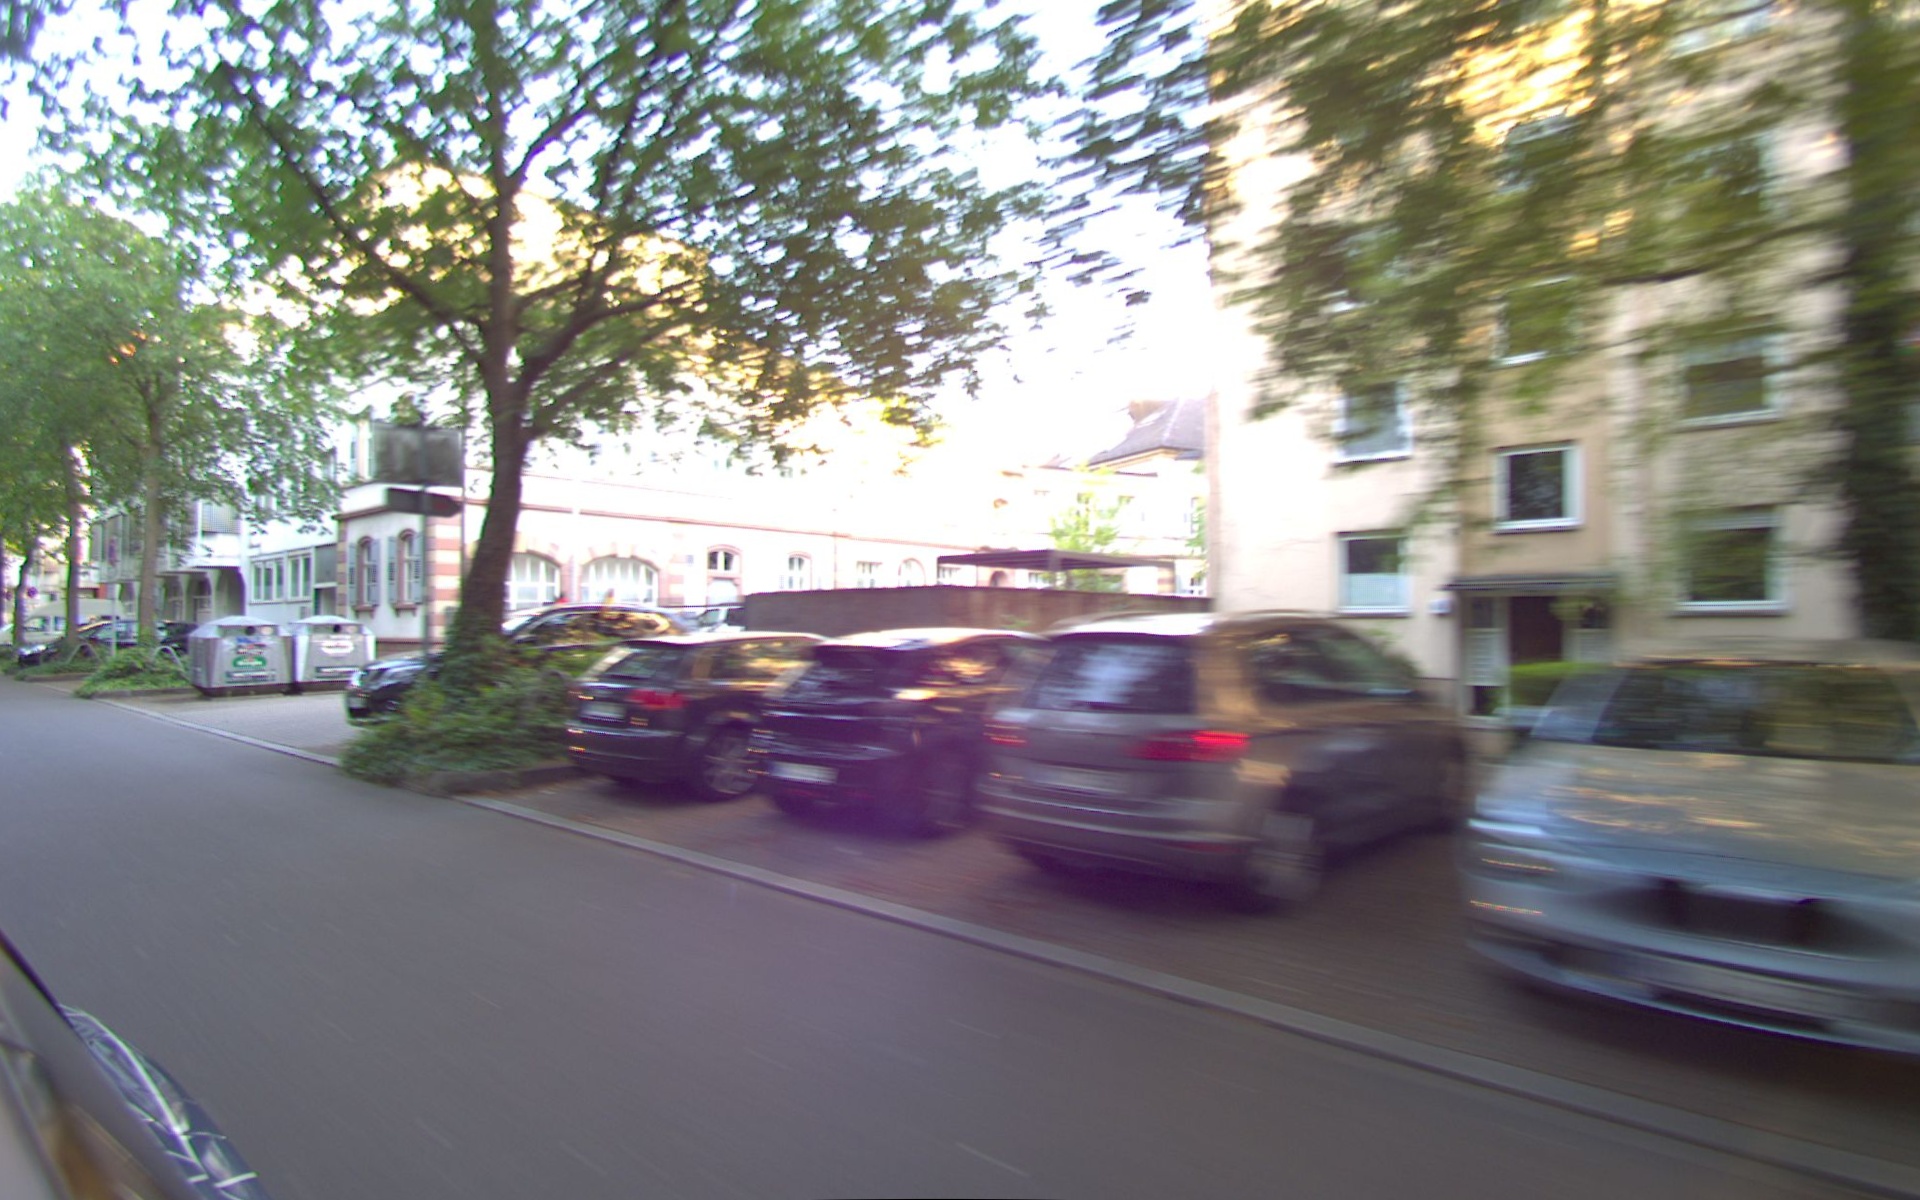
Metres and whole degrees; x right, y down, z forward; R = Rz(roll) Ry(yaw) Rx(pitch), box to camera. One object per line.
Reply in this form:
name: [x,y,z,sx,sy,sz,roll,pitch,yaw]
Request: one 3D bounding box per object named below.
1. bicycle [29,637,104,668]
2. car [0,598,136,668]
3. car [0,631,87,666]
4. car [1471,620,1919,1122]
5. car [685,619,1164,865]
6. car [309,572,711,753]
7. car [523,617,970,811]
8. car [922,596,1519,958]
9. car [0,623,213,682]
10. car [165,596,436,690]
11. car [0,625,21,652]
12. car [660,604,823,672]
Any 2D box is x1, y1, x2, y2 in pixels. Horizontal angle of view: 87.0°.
bicycle: [-25.320,1.488,28.698,0.613,0.837,1.535,-2,-2,44]
car: [-35.382,1.257,39.302,2.120,2.592,4.951,-2,-2,41]
car: [-41.487,2.121,44.795,1.952,1.480,4.124,-2,-2,42]
car: [3.978,0.822,4.704,1.878,1.440,4.243,-2,-2,41]
car: [-0.068,0.917,8.334,1.823,1.502,3.948,-2,-2,38]
car: [-5.740,0.731,13.405,1.998,1.970,4.460,-2,-2,39]
car: [-1.884,0.922,9.874,1.920,1.475,3.947,-2,-2,39]
car: [1.866,0.818,6.500,3.940,1.577,1.931,1,-2,-44]
car: [-26.109,1.547,31.035,2.159,1.634,4.801,-2,-2,42]
car: [-13.919,0.856,21.578,1.998,1.785,4.460,-2,-2,39]
car: [-57.329,2.234,58.385,1.870,1.537,4.462,-2,-2,41]
car: [-6.212,1.050,28.492,4.672,1.771,1.978,-2,-2,38]
